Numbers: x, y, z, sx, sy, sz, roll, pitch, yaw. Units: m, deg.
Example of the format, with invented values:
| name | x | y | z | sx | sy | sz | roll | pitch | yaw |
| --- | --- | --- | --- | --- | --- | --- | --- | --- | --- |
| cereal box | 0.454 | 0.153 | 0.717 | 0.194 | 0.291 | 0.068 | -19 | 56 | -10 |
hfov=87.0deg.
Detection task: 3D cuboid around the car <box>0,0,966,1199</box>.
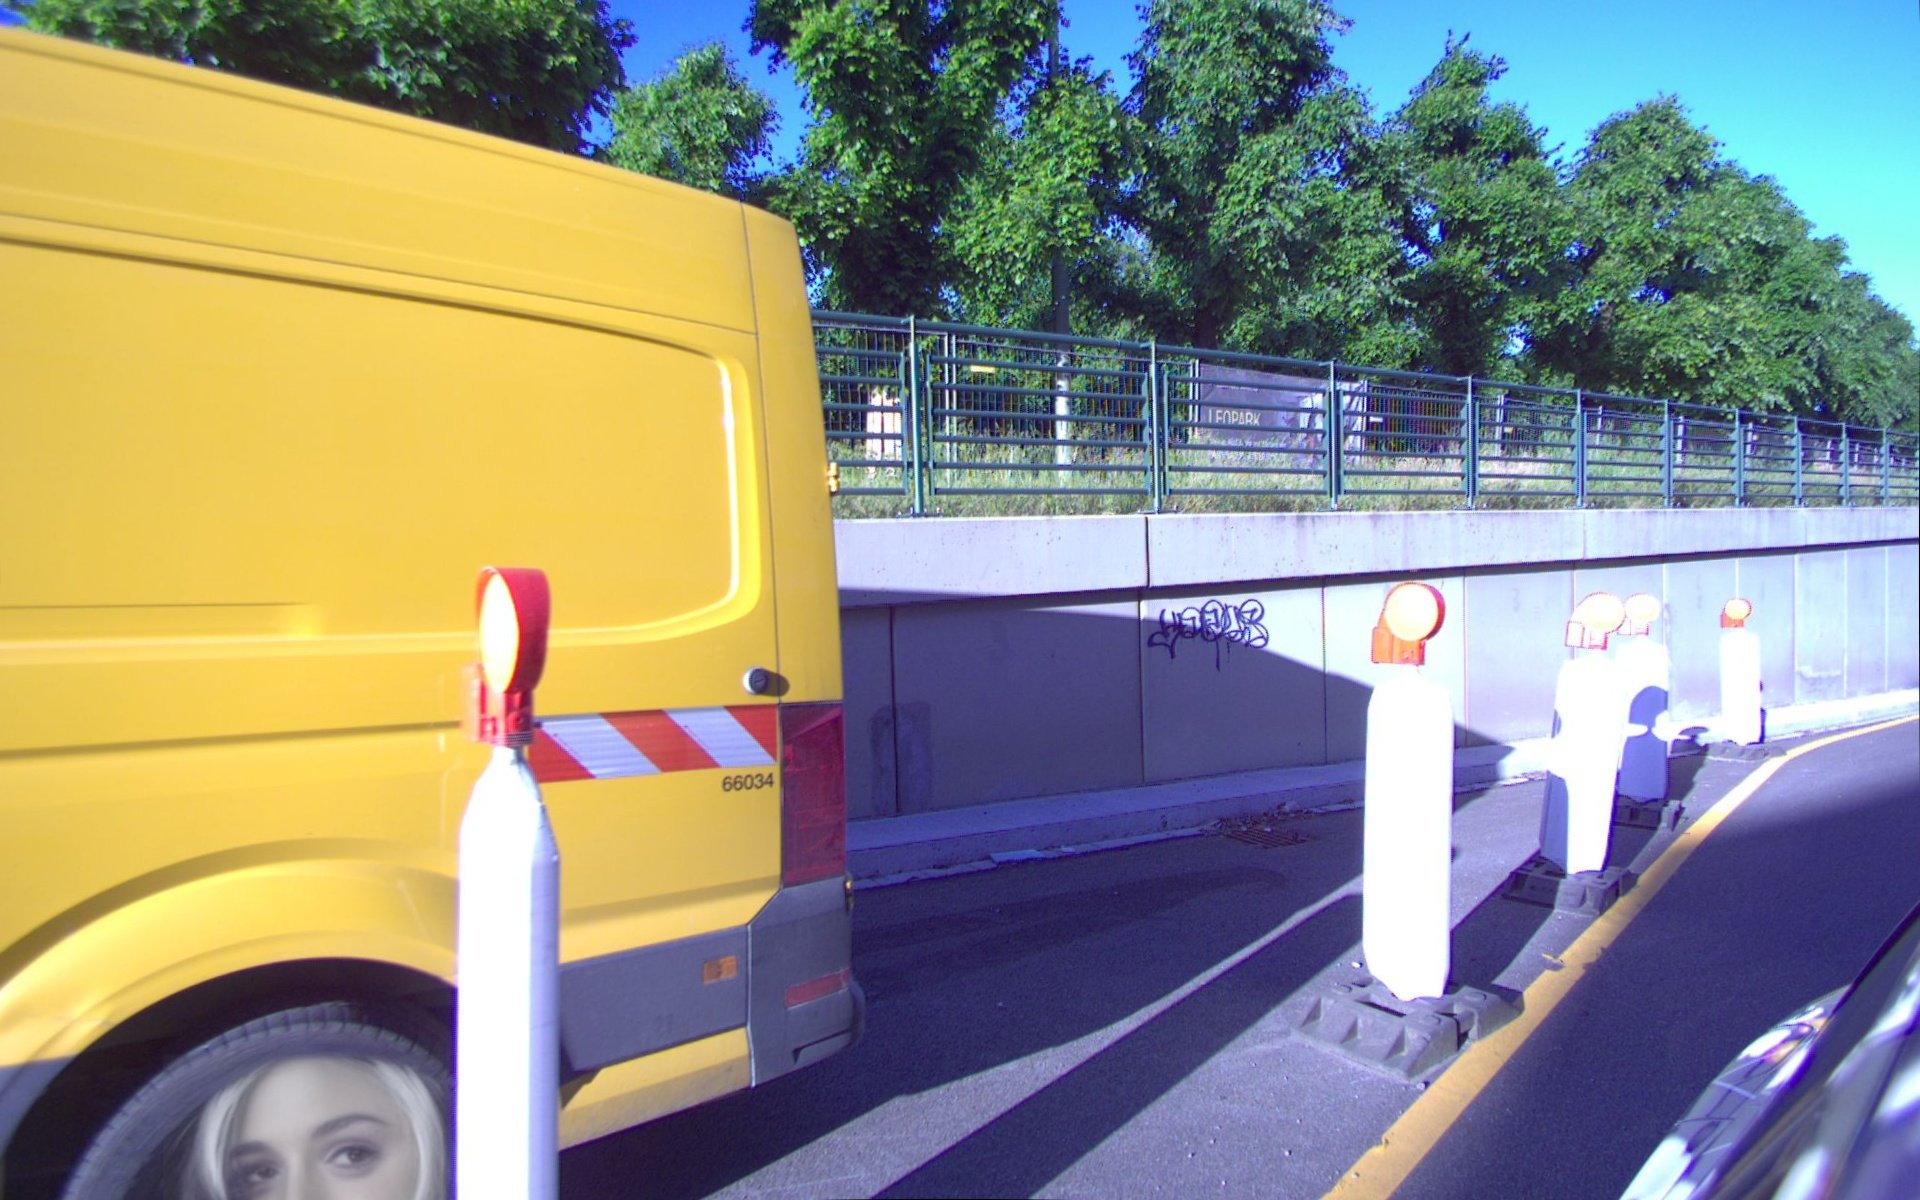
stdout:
| name | x | y | z | sx | sy | sz | roll | pitch | yaw |
| --- | --- | --- | --- | --- | --- | --- | --- | --- | --- |
| car | -3.484 | 0.098 | 1.760 | 6.846 | 2.657 | 2.121 | -1 | 1 | -29 |
